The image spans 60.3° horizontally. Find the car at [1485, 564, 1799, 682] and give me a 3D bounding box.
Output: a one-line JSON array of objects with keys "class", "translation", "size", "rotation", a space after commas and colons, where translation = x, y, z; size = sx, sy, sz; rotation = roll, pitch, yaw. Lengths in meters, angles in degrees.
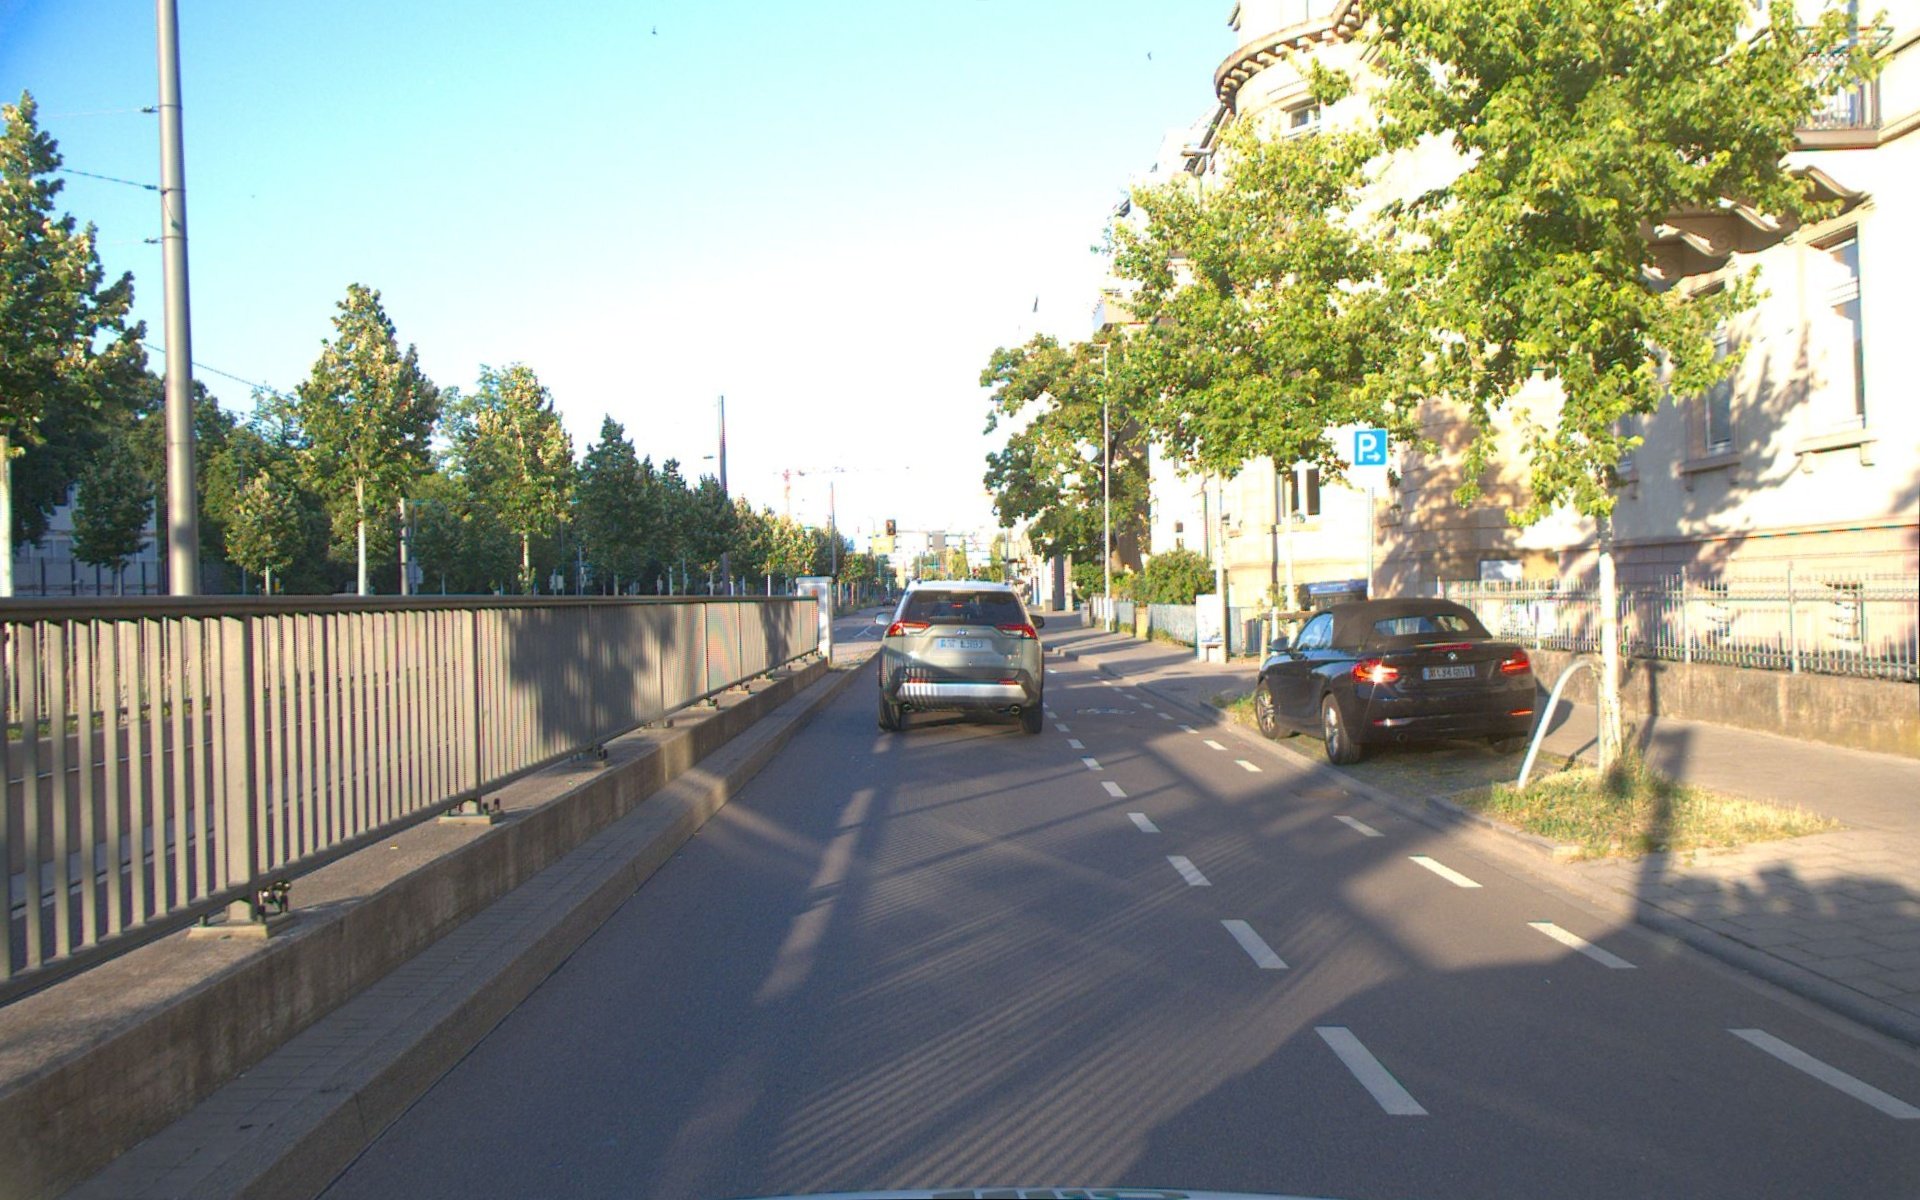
[{"class": "car", "translation": [10.606, 0.341, 25.959], "size": [4.108, 1.598, 1.917], "rotation": [-3, 0, 2]}]

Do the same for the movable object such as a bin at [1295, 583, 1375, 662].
[{"class": "movable object such as a bin", "translation": [7.249, 0.430, 32.039], "size": [1.235, 1.487, 1.123], "rotation": [-1, 0, -4]}]

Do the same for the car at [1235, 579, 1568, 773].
[{"class": "car", "translation": [4.099, 0.620, 16.155], "size": [1.757, 1.496, 4.442], "rotation": [-4, 1, -3]}]

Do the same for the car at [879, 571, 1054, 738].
[{"class": "car", "translation": [-0.012, 0.566, 19.465], "size": [1.820, 1.744, 4.190], "rotation": [1, 0, -2]}]
